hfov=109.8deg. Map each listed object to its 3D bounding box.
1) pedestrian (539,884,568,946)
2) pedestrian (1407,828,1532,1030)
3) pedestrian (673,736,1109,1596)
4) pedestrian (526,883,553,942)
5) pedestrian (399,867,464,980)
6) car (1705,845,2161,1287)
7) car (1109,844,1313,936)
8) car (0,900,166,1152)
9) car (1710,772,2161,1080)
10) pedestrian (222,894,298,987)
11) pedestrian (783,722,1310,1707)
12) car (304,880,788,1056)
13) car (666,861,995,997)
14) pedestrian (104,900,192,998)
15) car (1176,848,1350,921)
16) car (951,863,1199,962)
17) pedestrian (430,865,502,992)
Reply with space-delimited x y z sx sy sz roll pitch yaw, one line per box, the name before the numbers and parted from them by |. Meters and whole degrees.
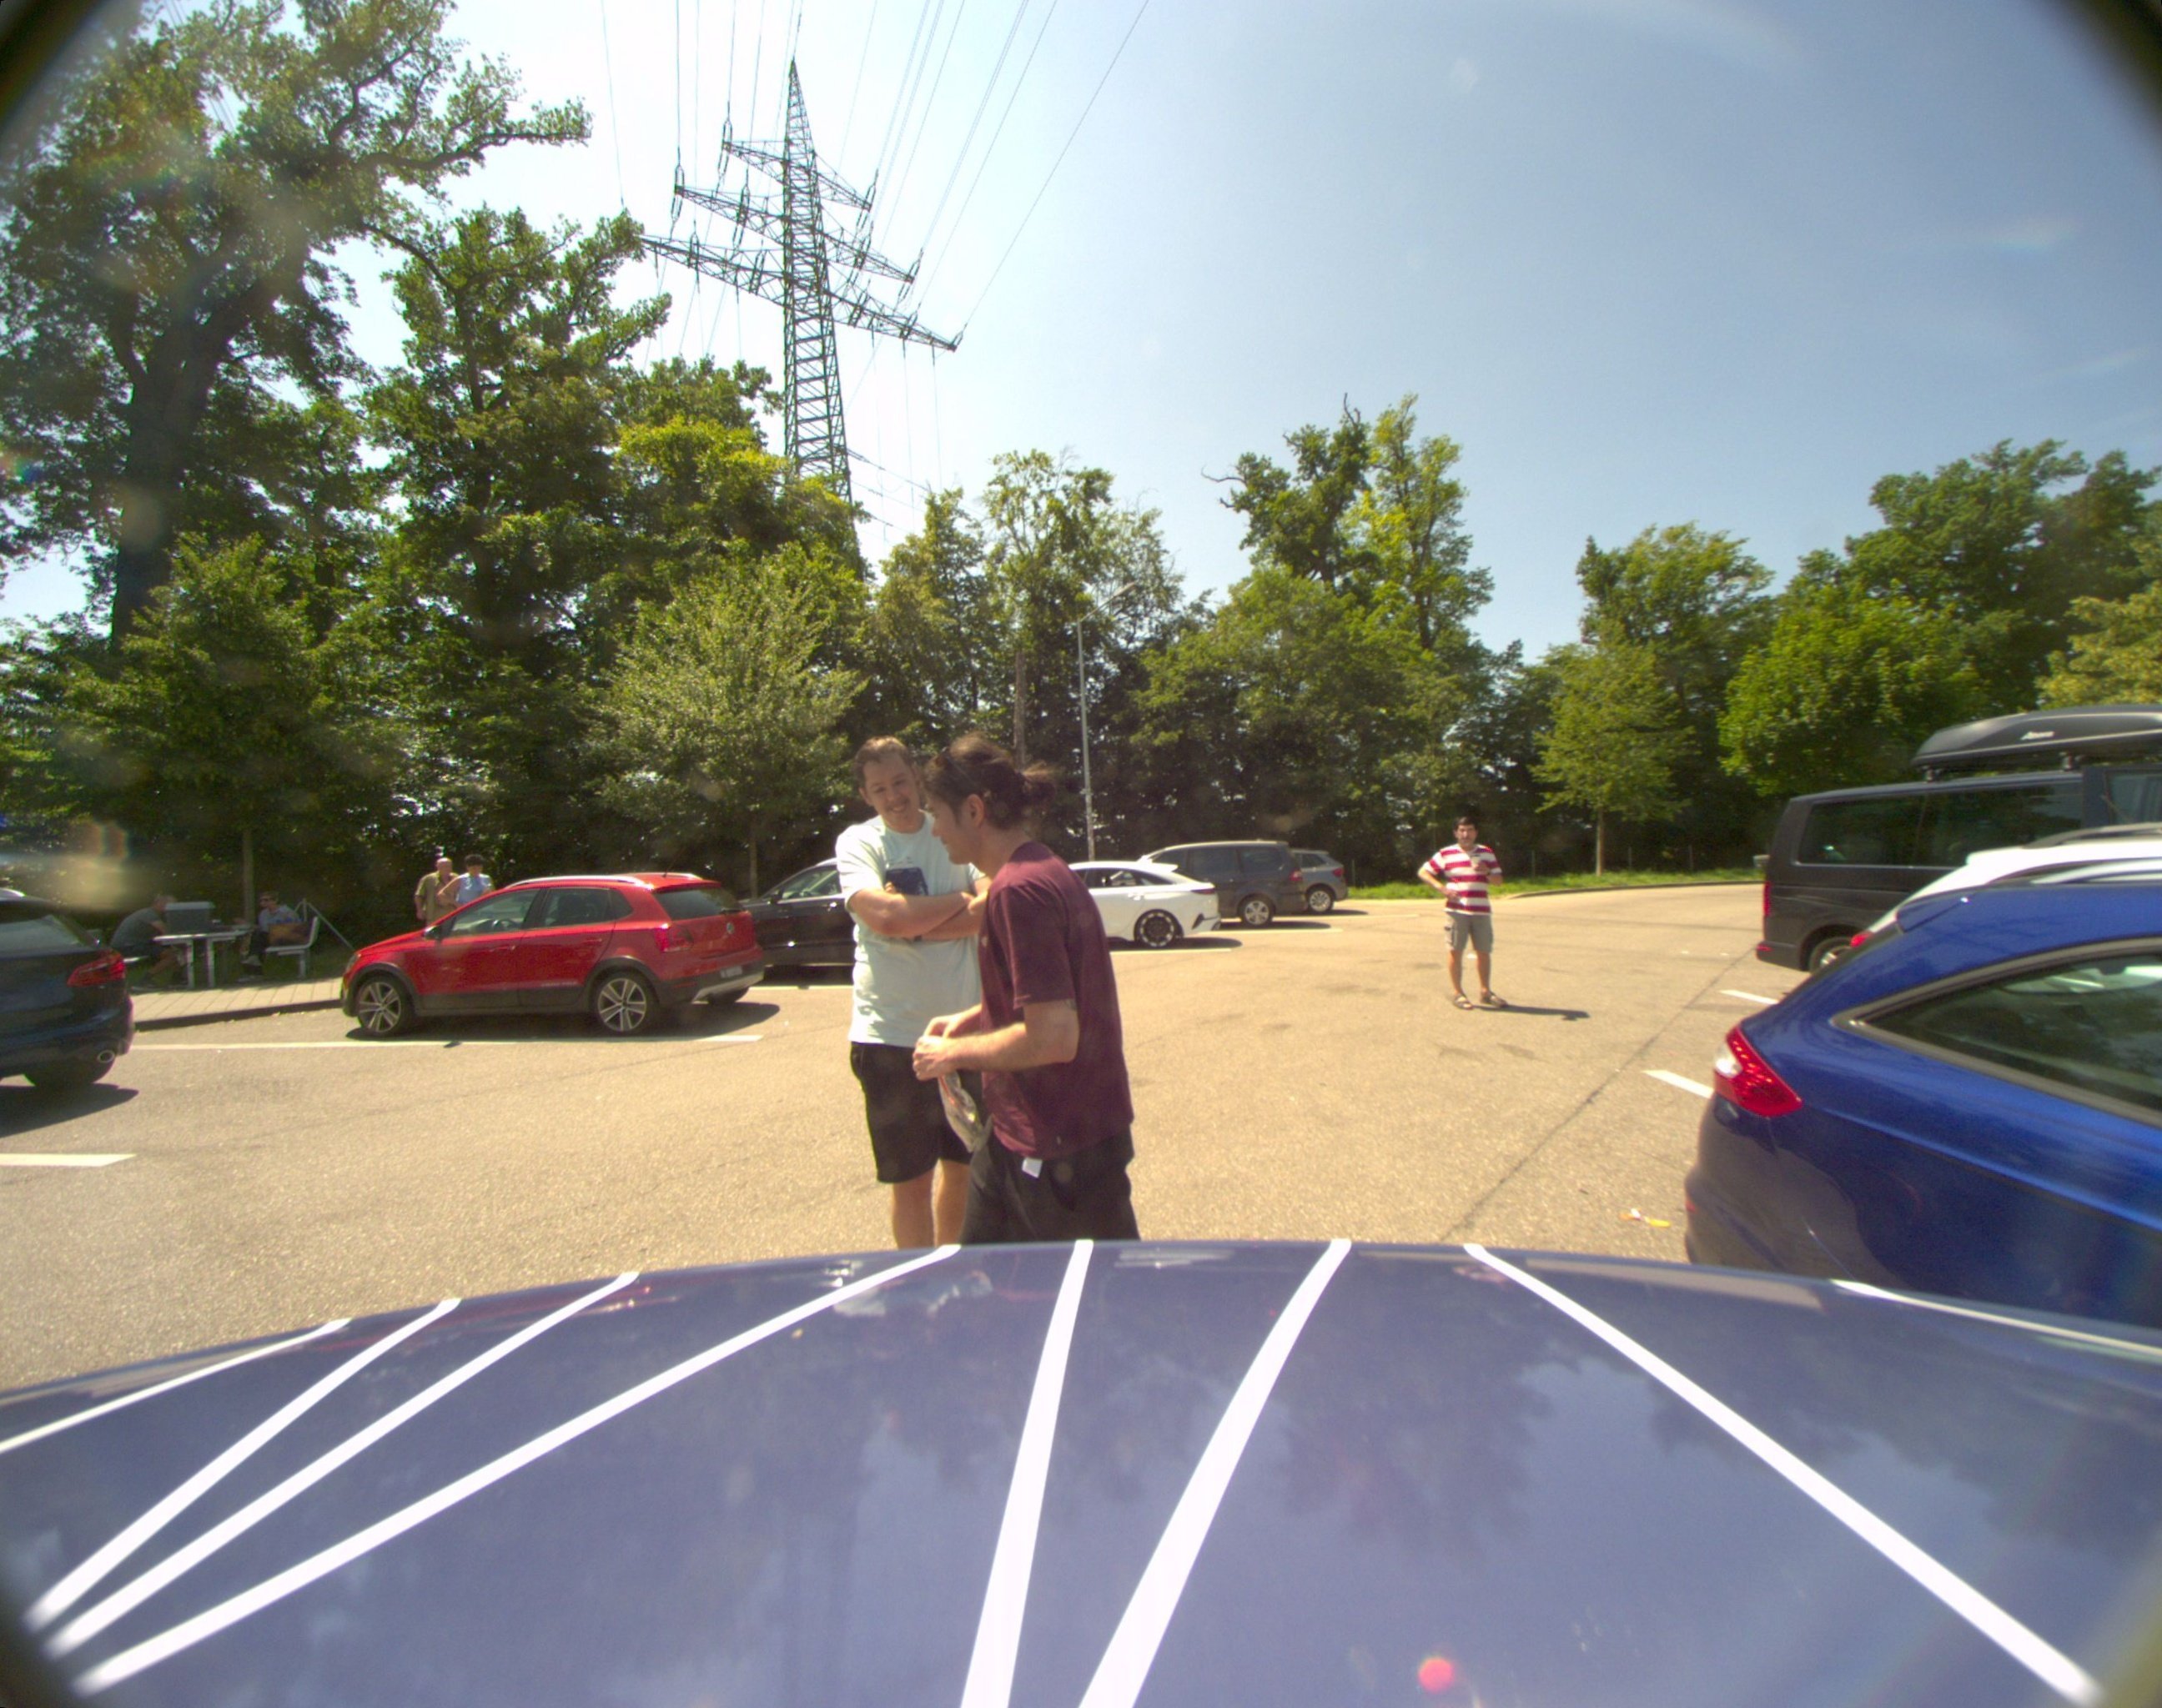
pedestrian | -10.148 1.162 14.618 0.357 1.158 0.384 -3 2 -41
pedestrian | 3.558 0.658 7.027 0.754 1.744 0.785 -2 1 6
pedestrian | -0.467 0.712 2.258 0.812 1.939 0.922 -2 1 18
pedestrian | -10.993 1.186 15.433 0.357 1.158 0.384 -3 2 -41
pedestrian | -9.623 1.001 11.255 0.648 1.596 0.571 -3 2 -42
car | 4.660 0.724 2.245 1.757 1.496 4.574 -3 -1 -1
car | 2.623 0.707 15.449 3.822 1.686 1.652 -2 1 12
car | -9.017 1.170 4.998 4.338 1.544 1.749 -1 1 8
car | 7.389 0.409 5.276 1.758 1.886 4.571 -3 -1 -9
pedestrian | -11.846 1.228 10.981 0.595 1.238 0.499 -3 1 -33
pedestrian | -0.140 0.737 1.755 0.815 1.894 0.918 -3 1 -30
car | -5.216 1.087 7.664 3.823 1.460 1.651 -2 1 8
car | -3.234 0.959 10.293 3.825 1.546 1.651 -2 1 4
pedestrian | -12.713 1.268 10.367 0.595 1.238 0.446 -3 1 -33
car | 4.282 0.703 18.144 3.822 1.551 1.652 -2 1 12
car | -0.059 0.929 12.667 3.825 1.394 1.651 -2 1 4
pedestrian | -8.213 0.959 10.147 0.648 1.596 0.571 -3 2 -42
